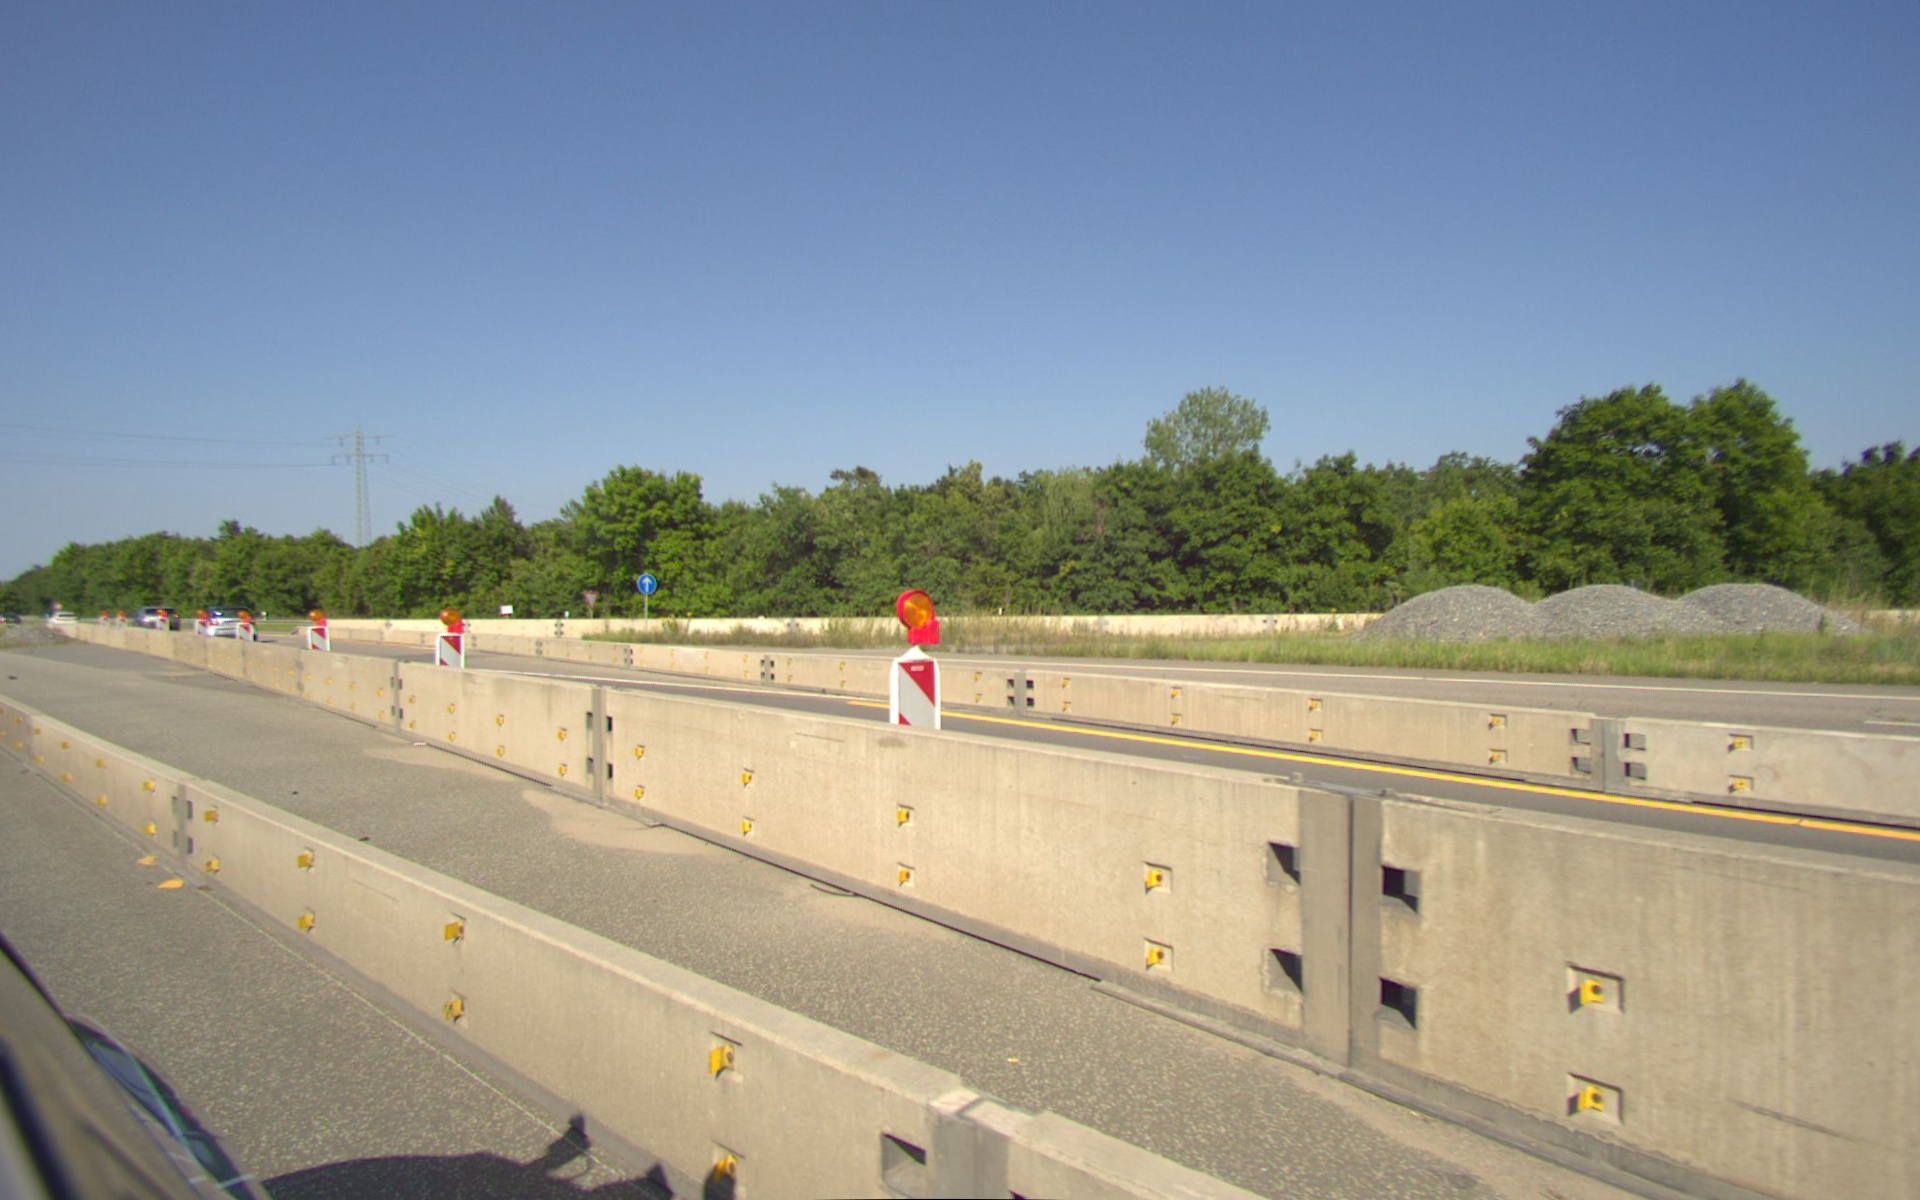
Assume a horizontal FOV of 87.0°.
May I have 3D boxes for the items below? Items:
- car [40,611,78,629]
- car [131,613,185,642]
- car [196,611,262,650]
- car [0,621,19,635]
[{"bbox_3d":[-78.827,1.755,88.556,4.434,1.620,1.799,-1,-1,39],"label":"car"},{"bbox_3d":[-45.348,1.554,57.202,1.970,1.527,4.584,0,-1,-44],"label":"car"},{"bbox_3d":[-30.387,1.249,42.019,1.691,1.527,4.182,0,-1,-44],"label":"car"},{"bbox_3d":[-102.188,3.005,108.241,4.812,1.451,1.820,-1,-2,42],"label":"car"}]
